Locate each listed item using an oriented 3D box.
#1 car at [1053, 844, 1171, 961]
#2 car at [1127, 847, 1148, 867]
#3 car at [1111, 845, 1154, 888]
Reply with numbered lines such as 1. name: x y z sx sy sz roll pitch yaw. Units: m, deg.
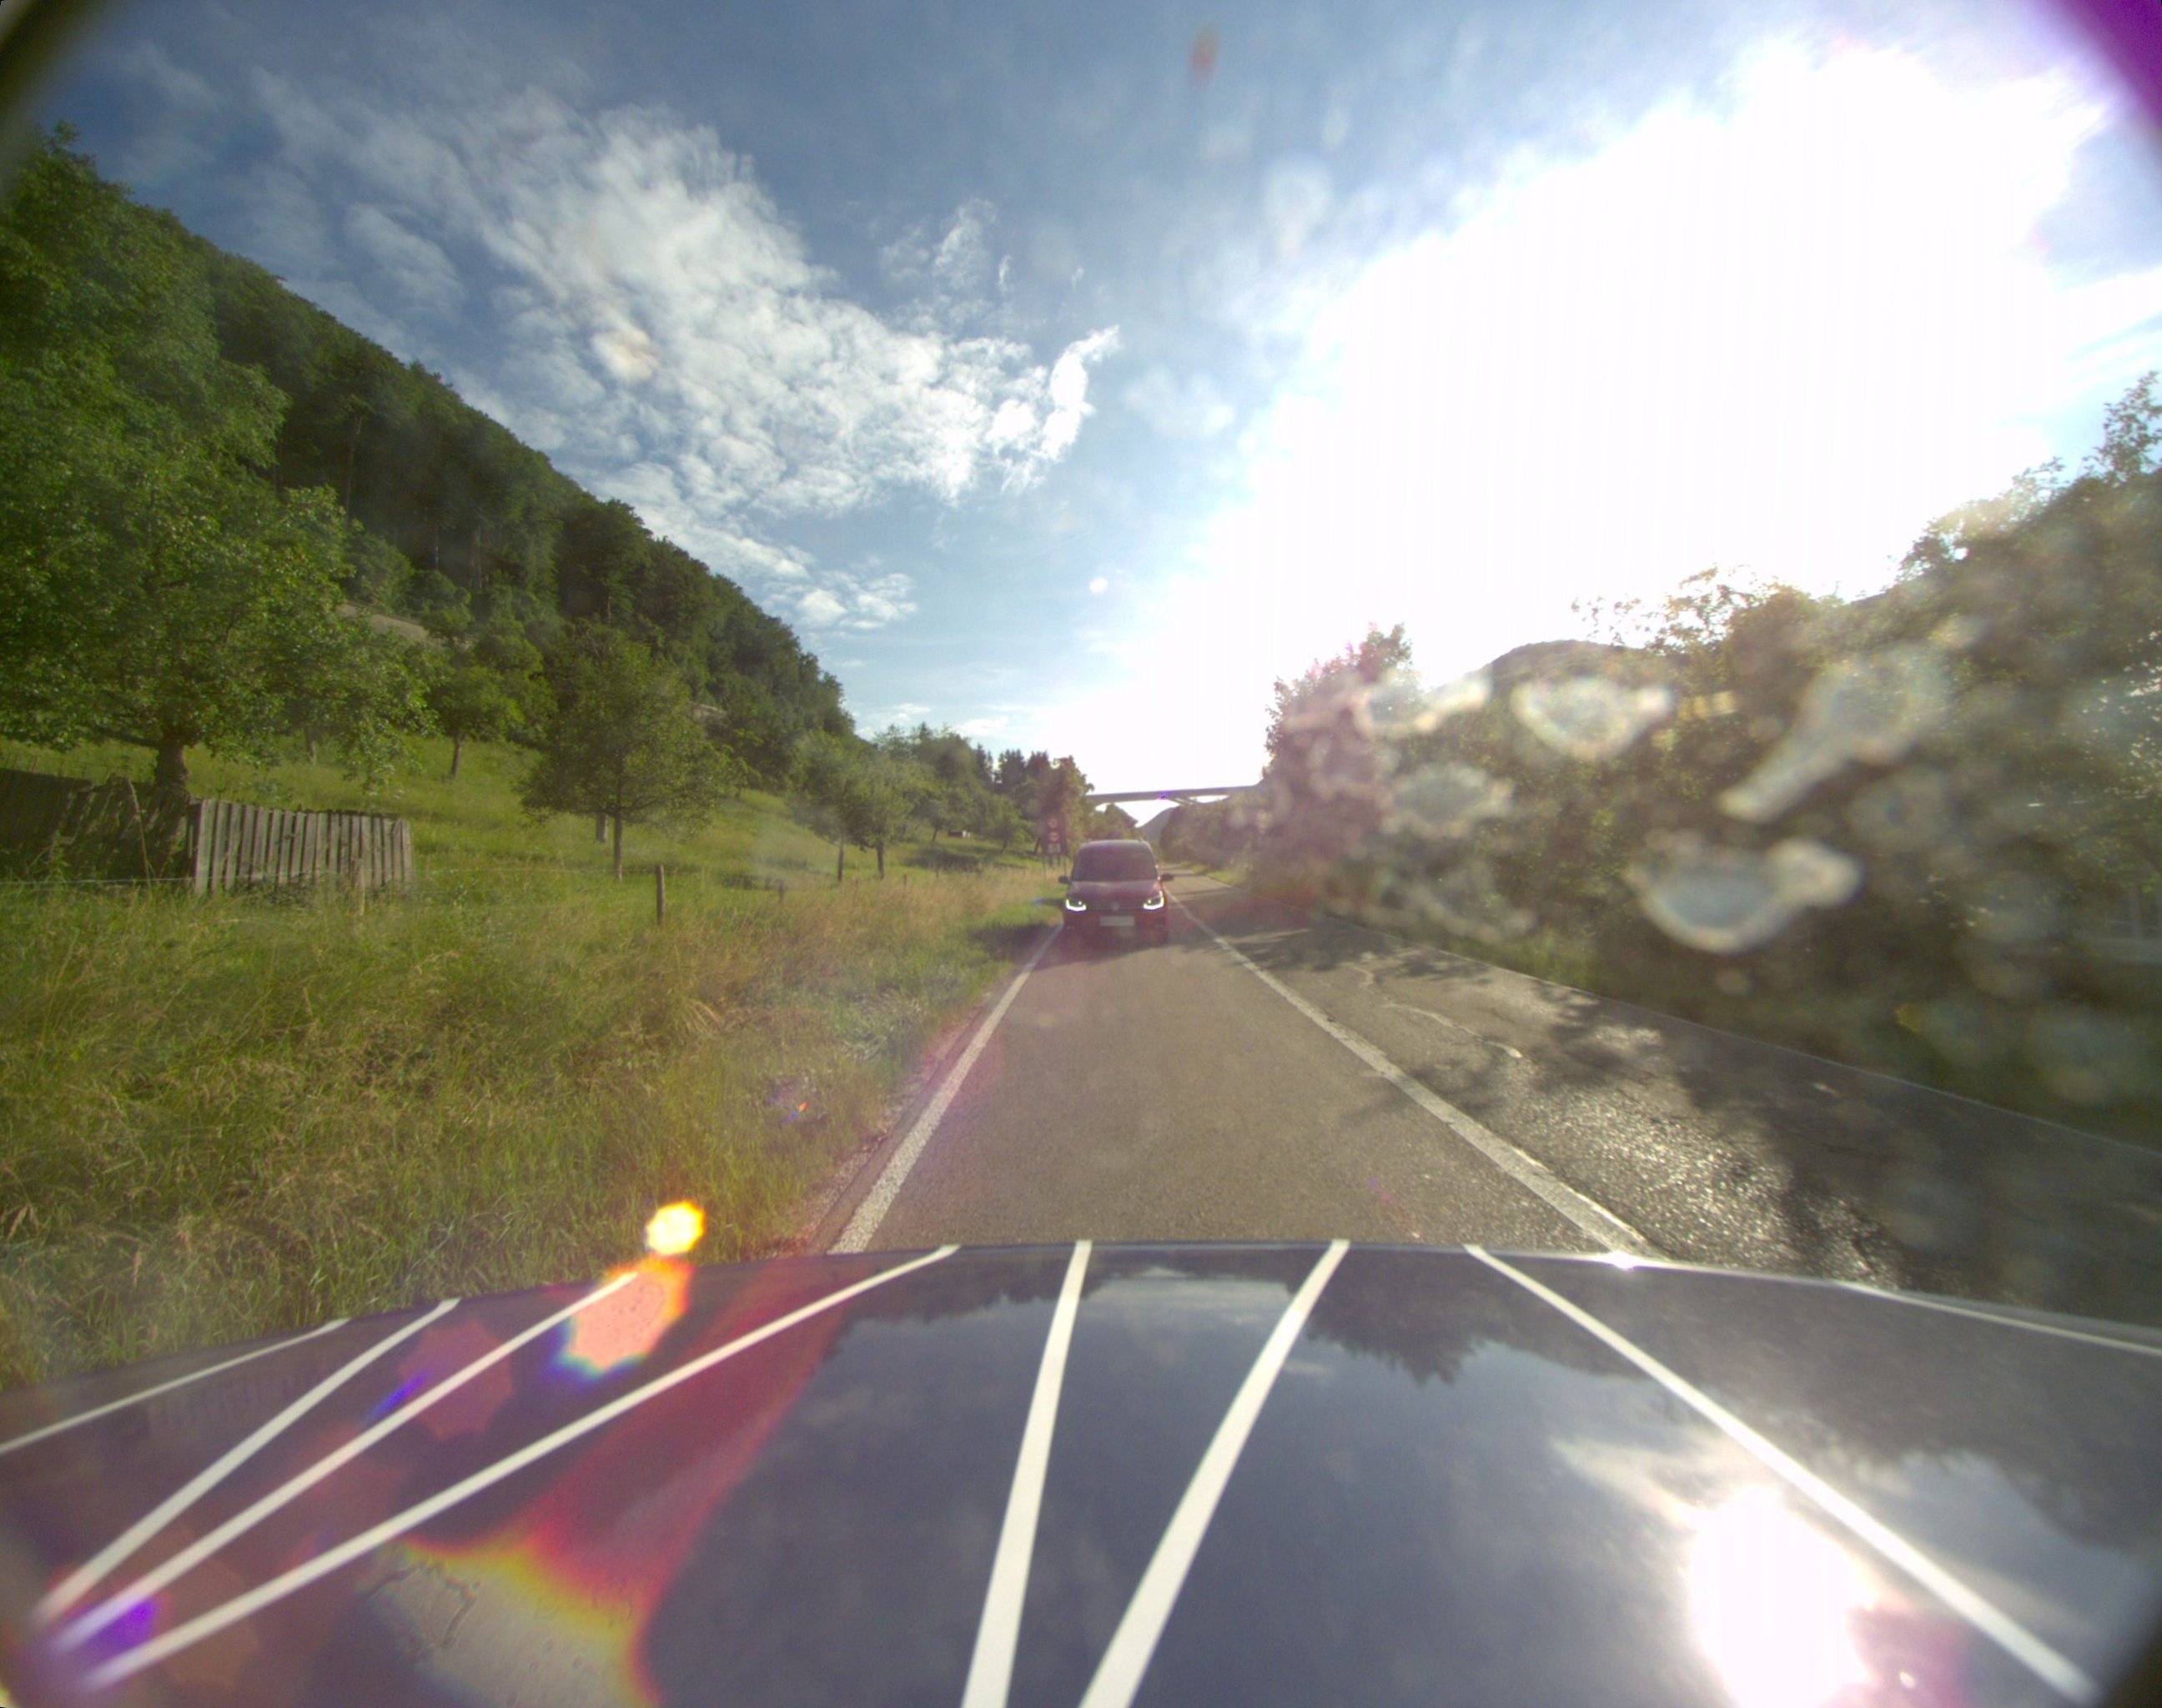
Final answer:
1. car: 0.621 0.729 13.931 1.758 1.745 4.430 -2 1 4
2. car: 6.006 0.246 80.613 1.998 2.002 4.000 -2 1 2
3. car: 2.255 0.501 34.245 1.759 1.745 4.000 -2 1 2
